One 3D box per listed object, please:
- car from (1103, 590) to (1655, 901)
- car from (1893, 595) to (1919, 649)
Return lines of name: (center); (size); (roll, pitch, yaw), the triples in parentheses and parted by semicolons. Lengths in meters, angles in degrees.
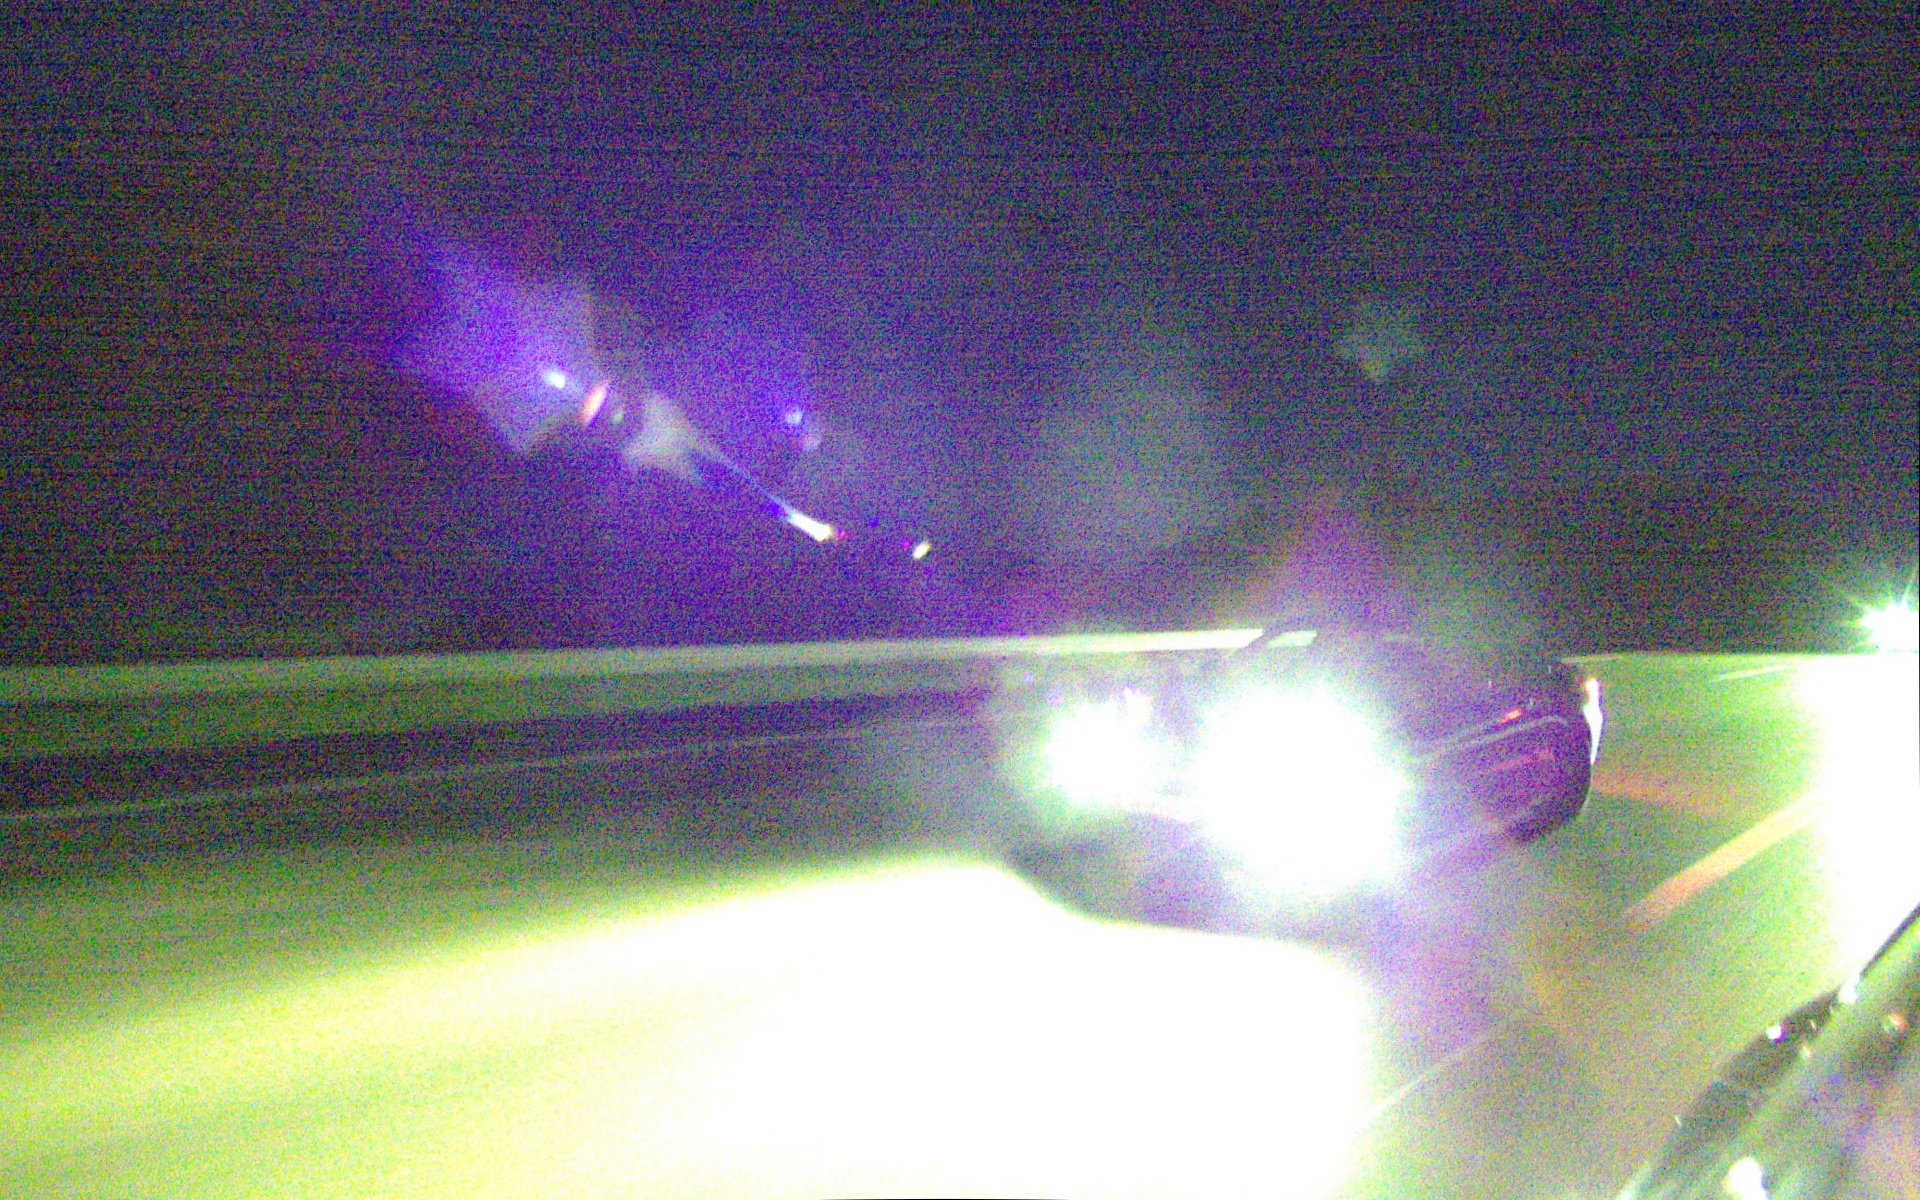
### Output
car: (2.989, 0.682, 6.768); (4.150, 1.431, 1.690); (0, 1, -40)
car: (29.650, 0.634, 30.472); (4.150, 1.560, 1.793); (0, -1, -40)
